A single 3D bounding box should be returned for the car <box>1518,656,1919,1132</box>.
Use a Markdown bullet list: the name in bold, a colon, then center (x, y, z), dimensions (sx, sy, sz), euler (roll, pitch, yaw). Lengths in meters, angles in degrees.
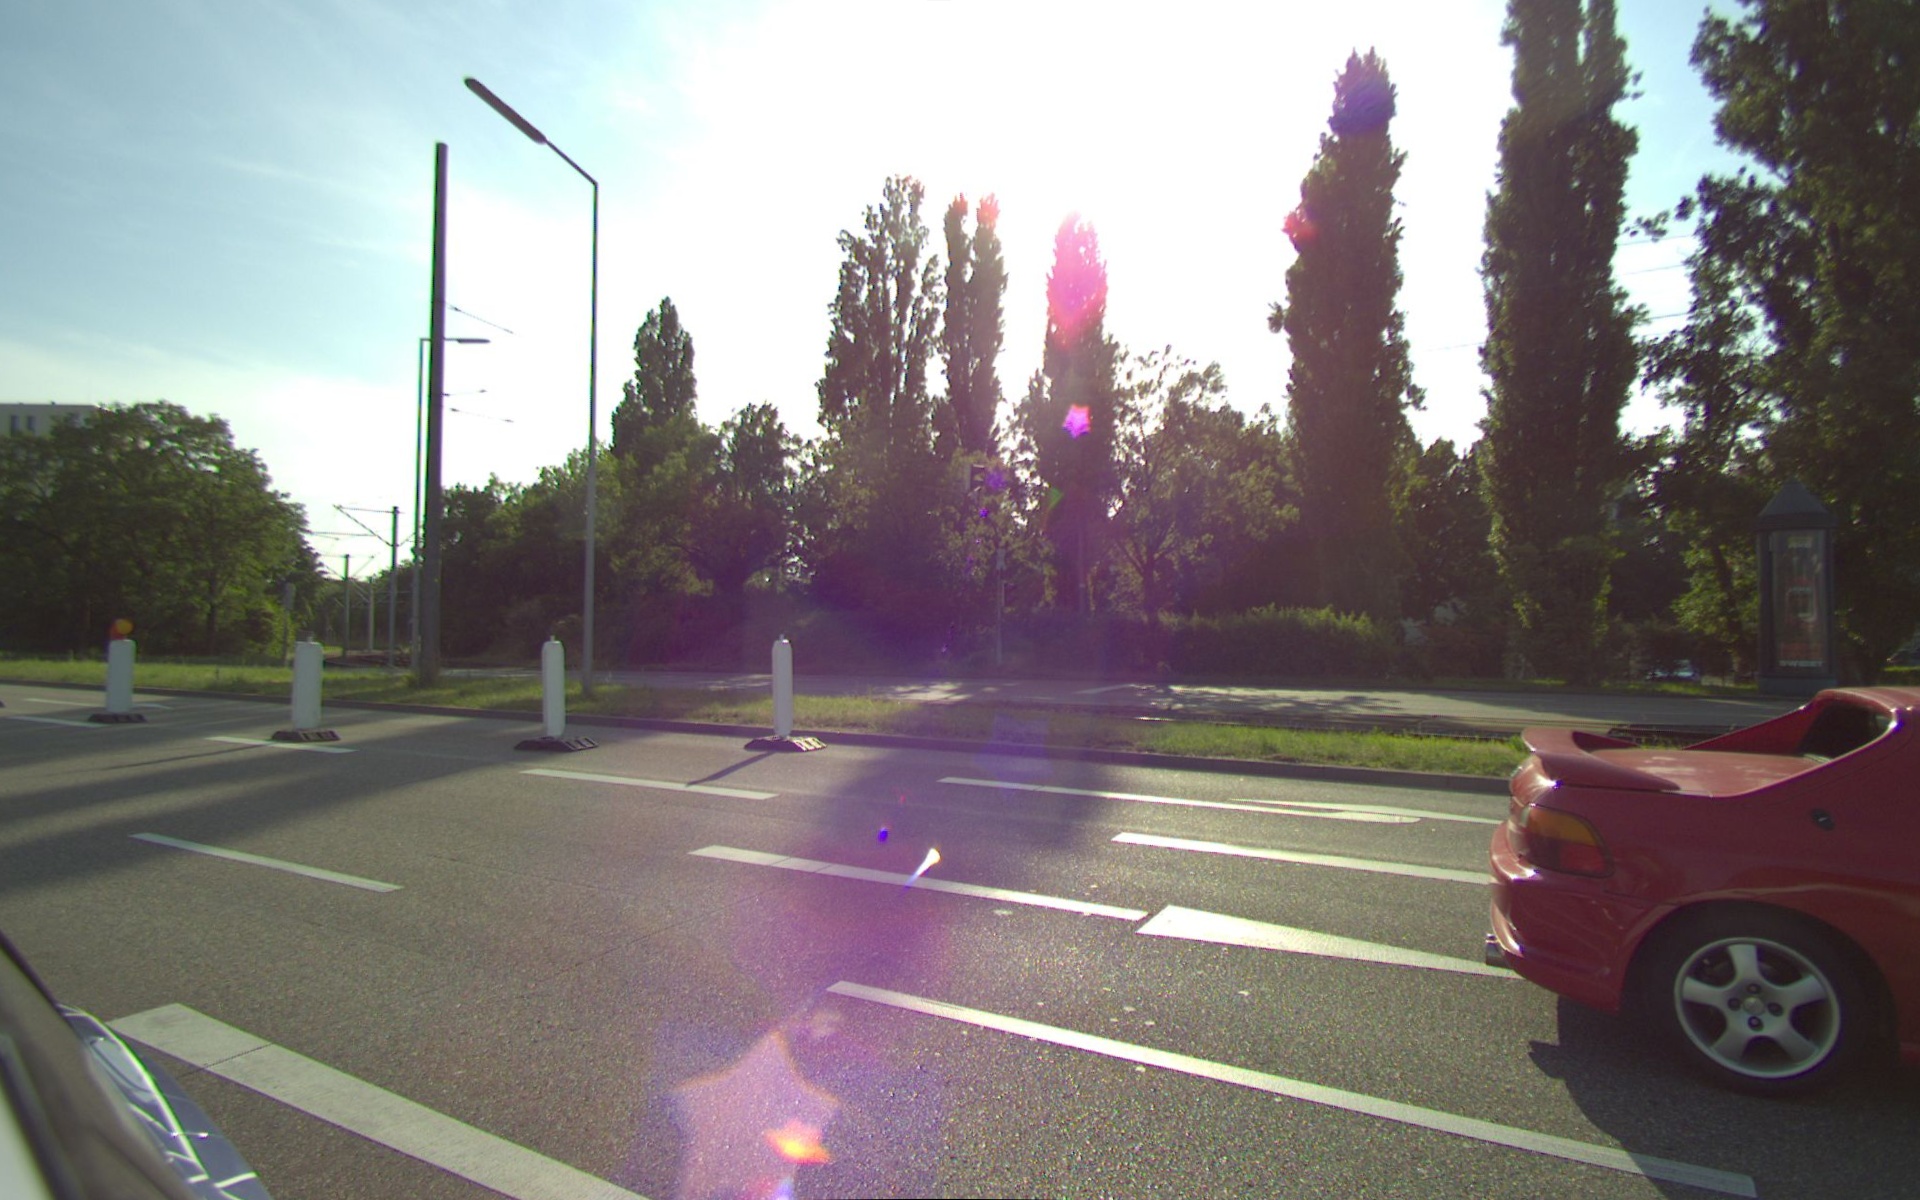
- **car**: center (3.890, 0.836, 3.049), dimensions (3.830, 1.216, 1.720), euler (-1, -1, 29)
